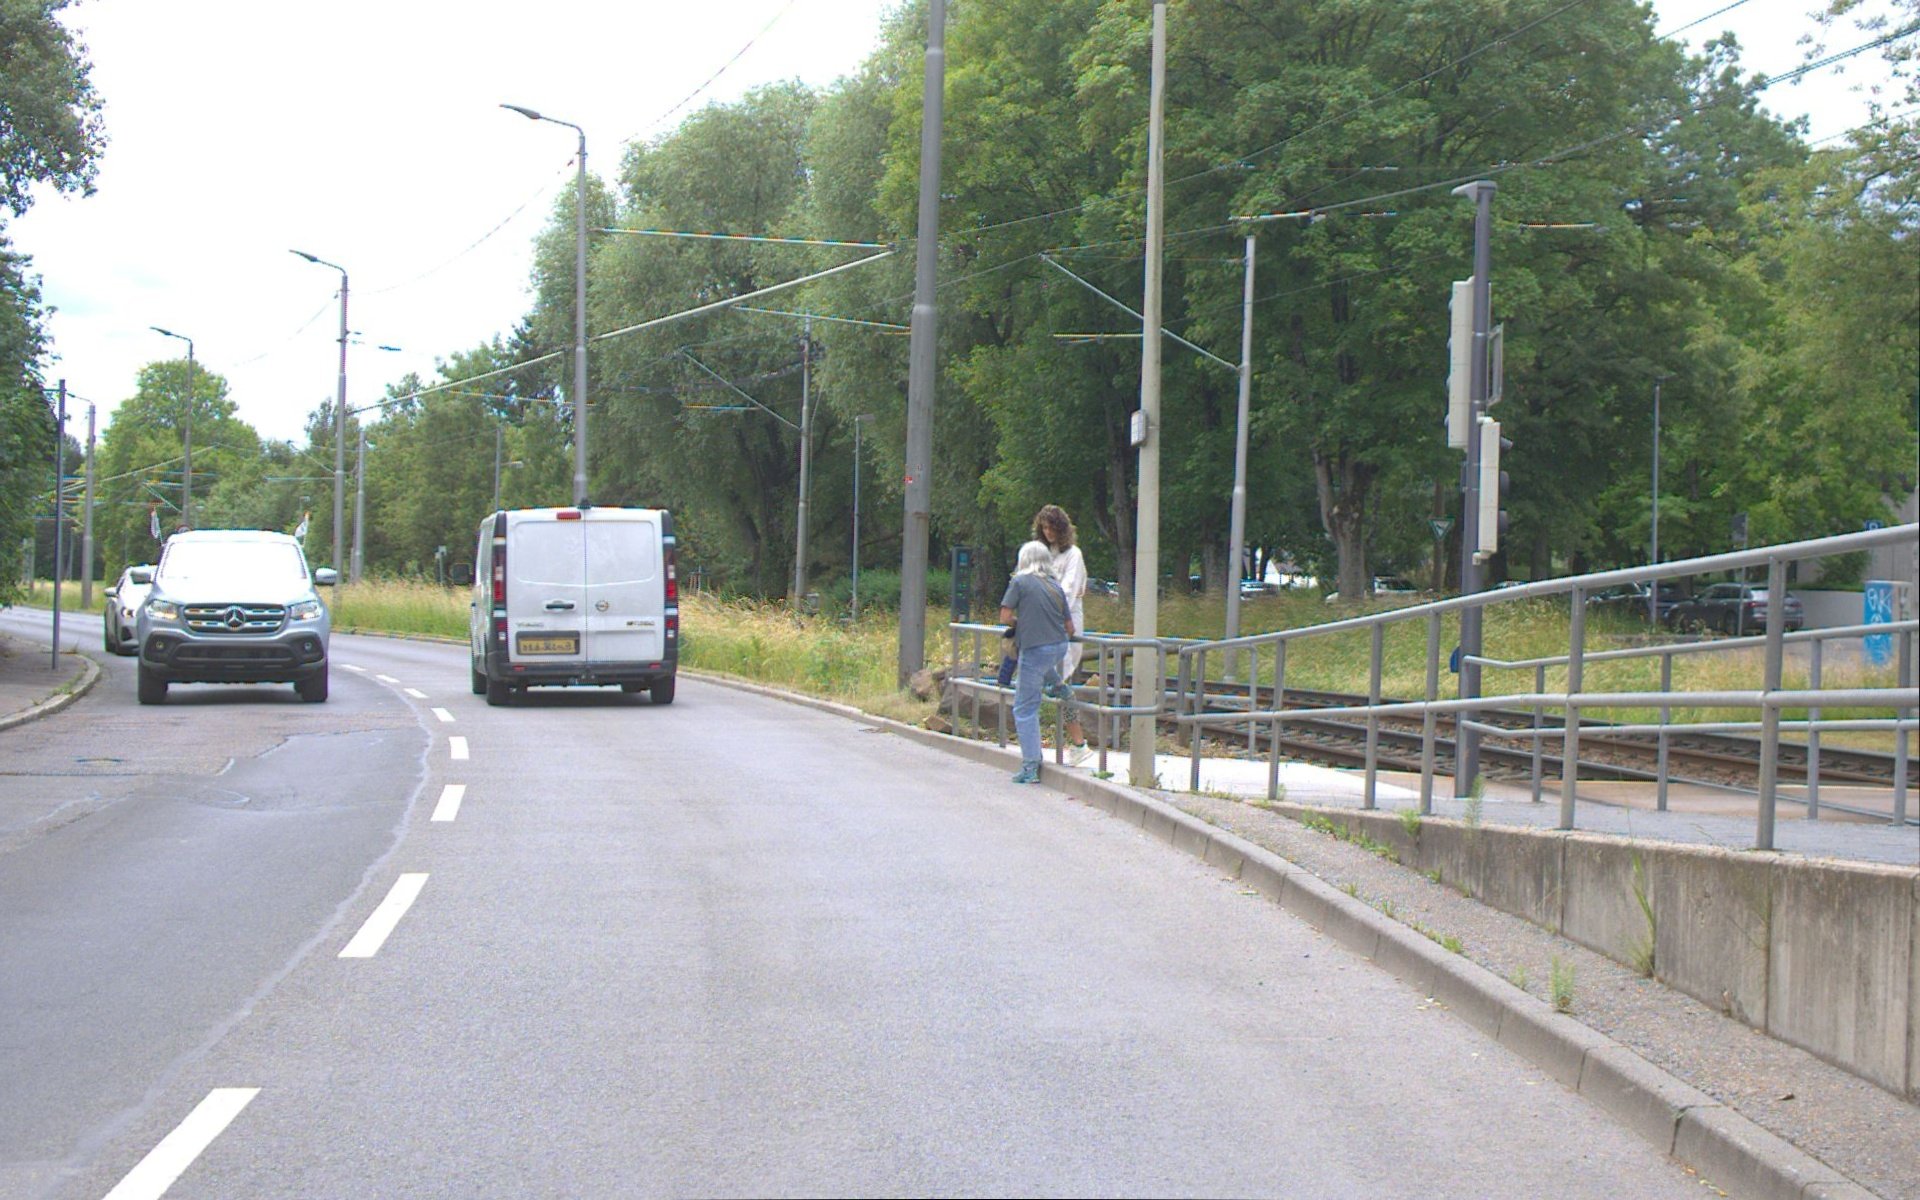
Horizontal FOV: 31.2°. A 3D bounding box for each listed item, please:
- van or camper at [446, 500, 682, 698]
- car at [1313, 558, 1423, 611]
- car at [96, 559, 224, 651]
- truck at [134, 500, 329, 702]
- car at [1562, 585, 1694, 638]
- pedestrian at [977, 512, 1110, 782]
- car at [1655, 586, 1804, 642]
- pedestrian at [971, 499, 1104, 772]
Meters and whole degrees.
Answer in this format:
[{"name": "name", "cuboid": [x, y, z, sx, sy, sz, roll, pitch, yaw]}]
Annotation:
[{"name": "van or camper", "cuboid": [-4.110, -0.017, 35.147, 1.941, 1.890, 4.286, 0, 0, -13]}, {"name": "car", "cuboid": [13.707, -0.528, 115.777, 1.993, 1.694, 4.230, 2, 0, -19]}, {"name": "car", "cuboid": [-13.918, 0.066, 59.685, 1.929, 1.517, 4.660, -1, 1, -16]}, {"name": "truck", "cuboid": [-7.729, -0.015, 36.542, 1.847, 1.959, 4.960, 1, 0, -12]}, {"name": "car", "cuboid": [19.310, 0.327, 99.513, 1.993, 1.438, 4.001, 2, 0, -19]}, {"name": "pedestrian", "cuboid": [0.541, 0.311, 22.451, 0.474, 1.723, 0.800, 3, -2, -31]}, {"name": "car", "cuboid": [21.107, 0.374, 94.494, 1.993, 1.438, 4.347, 2, 0, -19]}, {"name": "pedestrian", "cuboid": [0.535, 0.252, 23.709, 0.658, 1.834, 0.597, 3, -2, -30]}]
